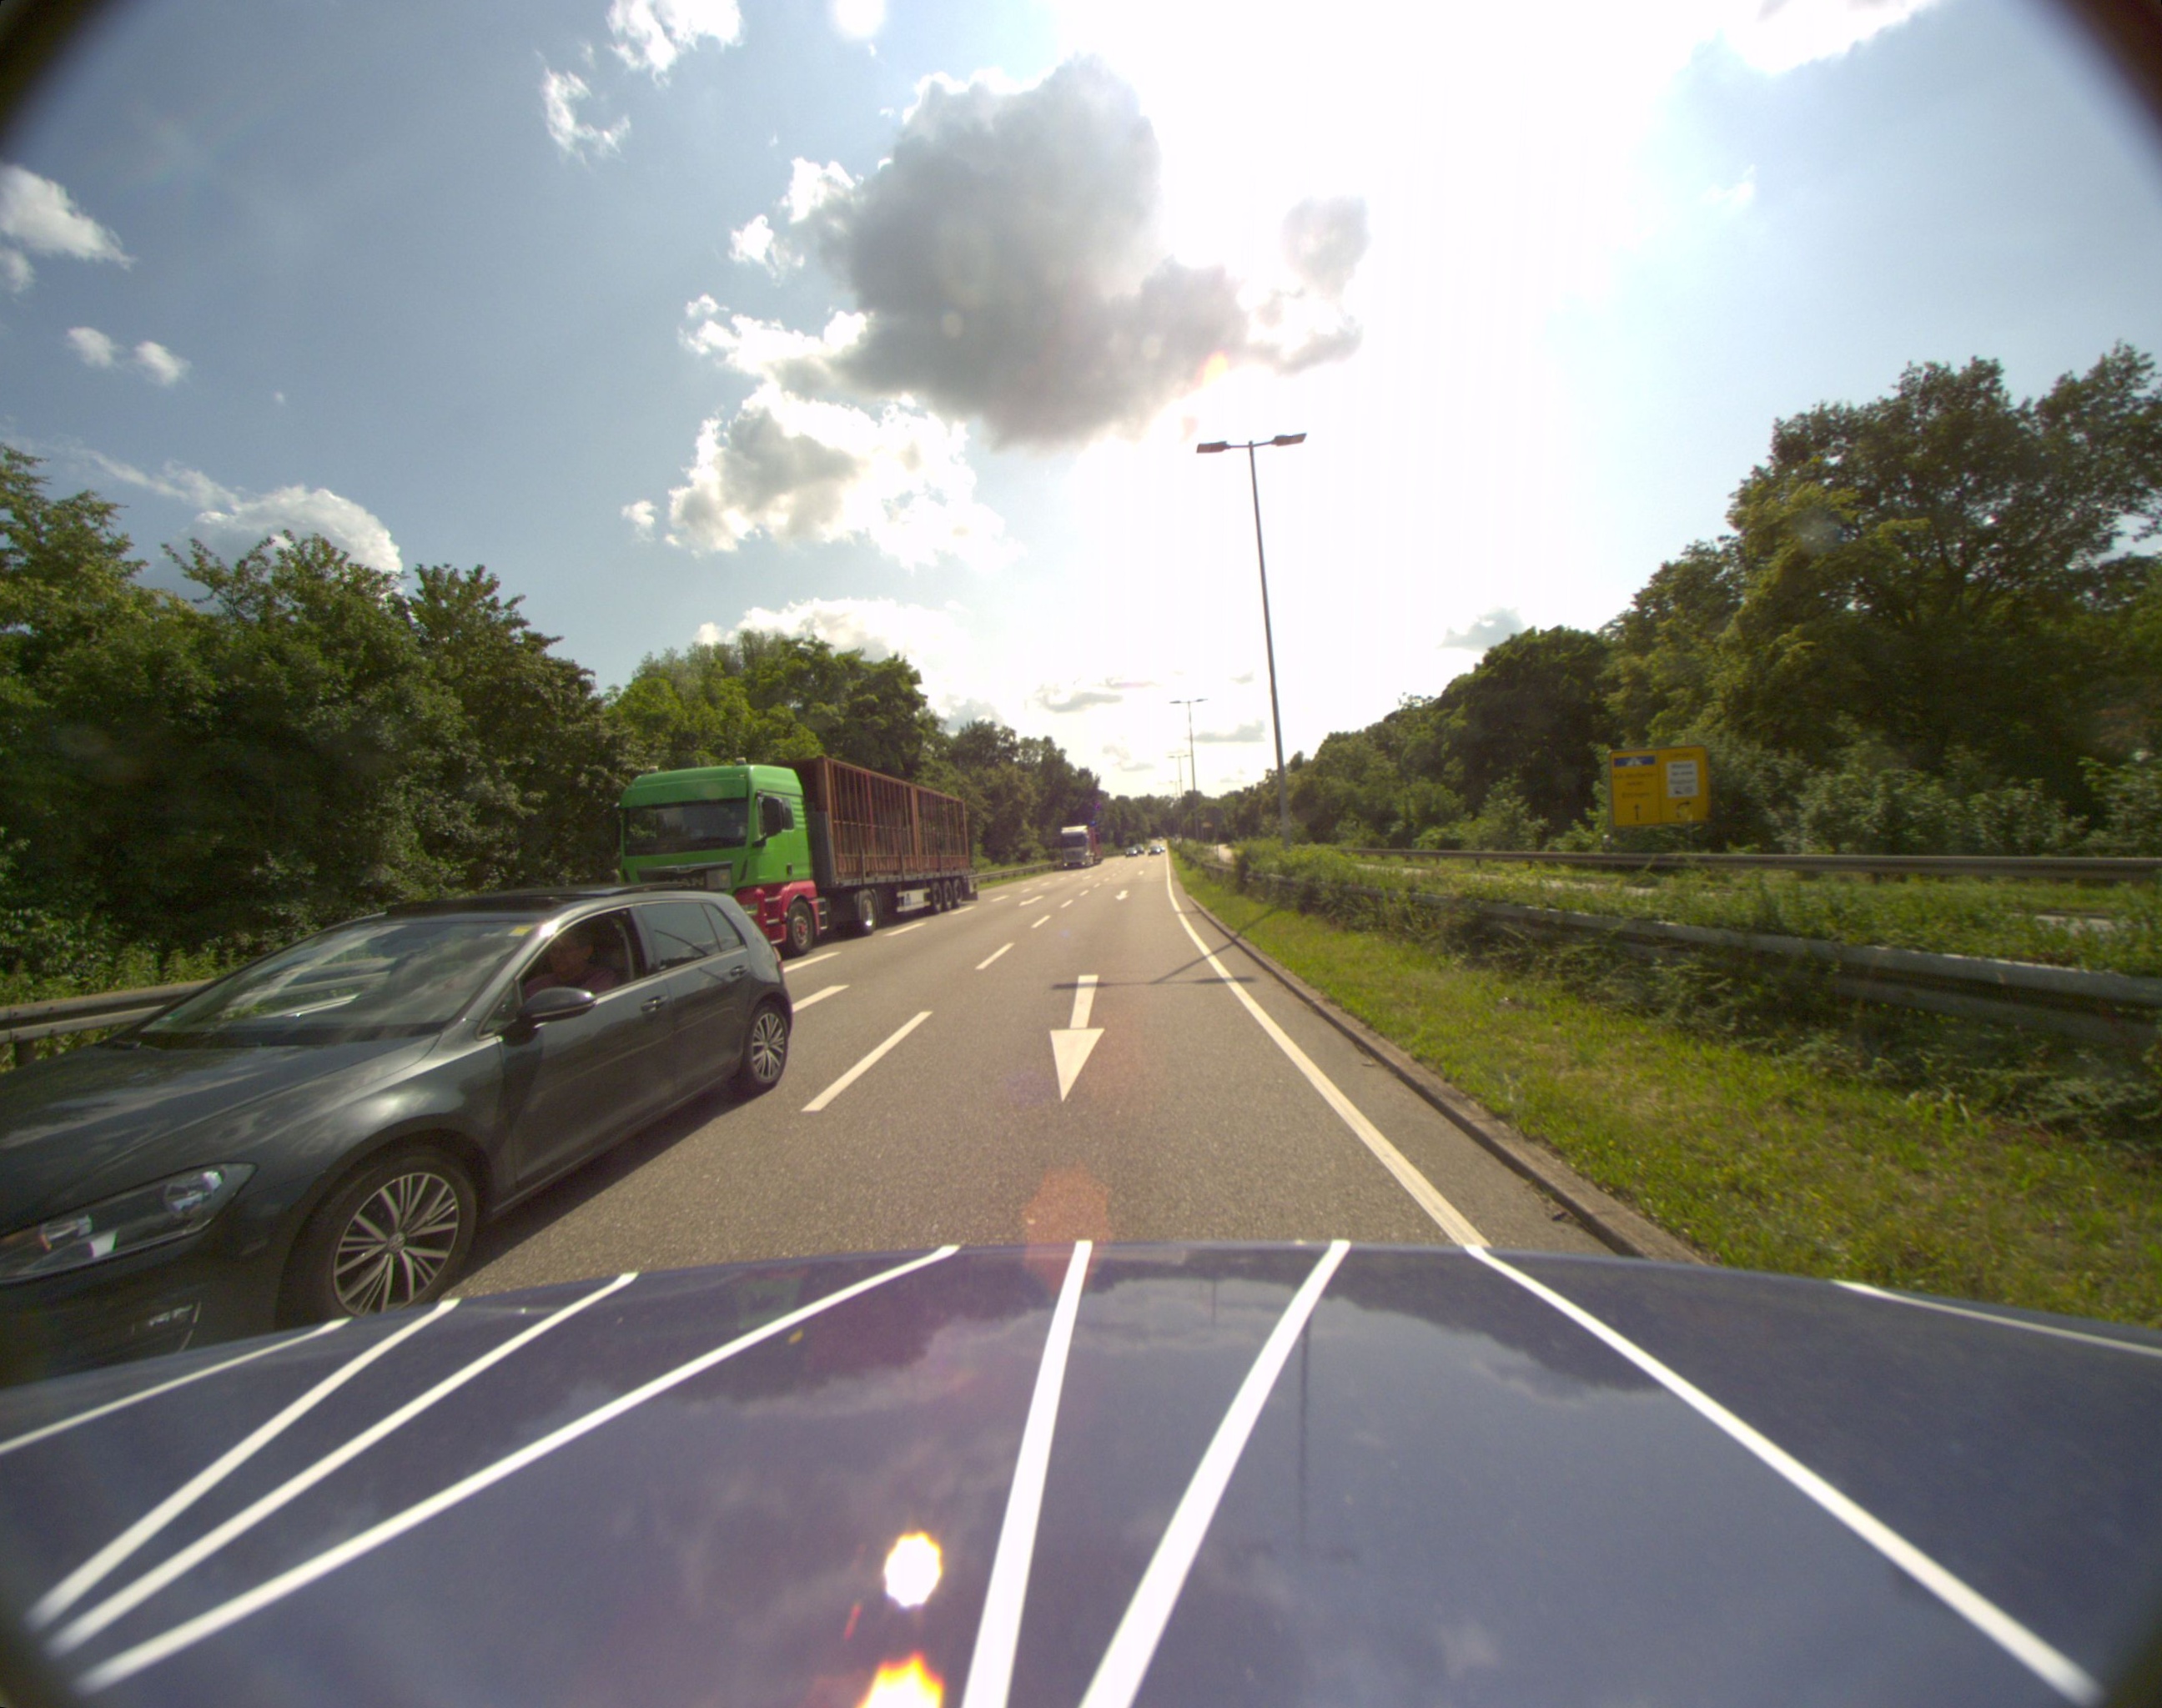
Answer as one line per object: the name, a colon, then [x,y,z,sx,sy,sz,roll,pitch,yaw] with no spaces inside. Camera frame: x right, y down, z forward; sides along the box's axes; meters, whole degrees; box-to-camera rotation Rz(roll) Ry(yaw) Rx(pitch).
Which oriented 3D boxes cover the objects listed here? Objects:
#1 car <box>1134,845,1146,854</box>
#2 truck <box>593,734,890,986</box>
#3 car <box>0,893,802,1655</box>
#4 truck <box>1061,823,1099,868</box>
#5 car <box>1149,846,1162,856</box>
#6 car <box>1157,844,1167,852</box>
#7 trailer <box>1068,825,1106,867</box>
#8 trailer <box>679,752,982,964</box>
car: [10.442,-0.786,134.021,1.998,1.330,4.001,-3,0,5]
truck: [-6.237,0.100,15.257,2.590,3.871,6.063,-5,0,4]
car: [-3.140,1.082,3.684,1.735,1.468,4.048,-3,0,5]
truck: [0.017,-0.790,74.232,2.690,3.948,7.386,-5,0,6]
car: [11.142,-0.476,113.072,1.796,1.368,4.002,-3,0,7]
car: [15.123,-1.031,141.587,1.796,1.368,4.002,-3,0,7]
trailer: [0.776,-0.848,81.706,2.694,3.948,12.396,-5,0,6]
trailer: [-5.763,0.062,21.768,2.590,3.871,14.505,-5,0,4]
